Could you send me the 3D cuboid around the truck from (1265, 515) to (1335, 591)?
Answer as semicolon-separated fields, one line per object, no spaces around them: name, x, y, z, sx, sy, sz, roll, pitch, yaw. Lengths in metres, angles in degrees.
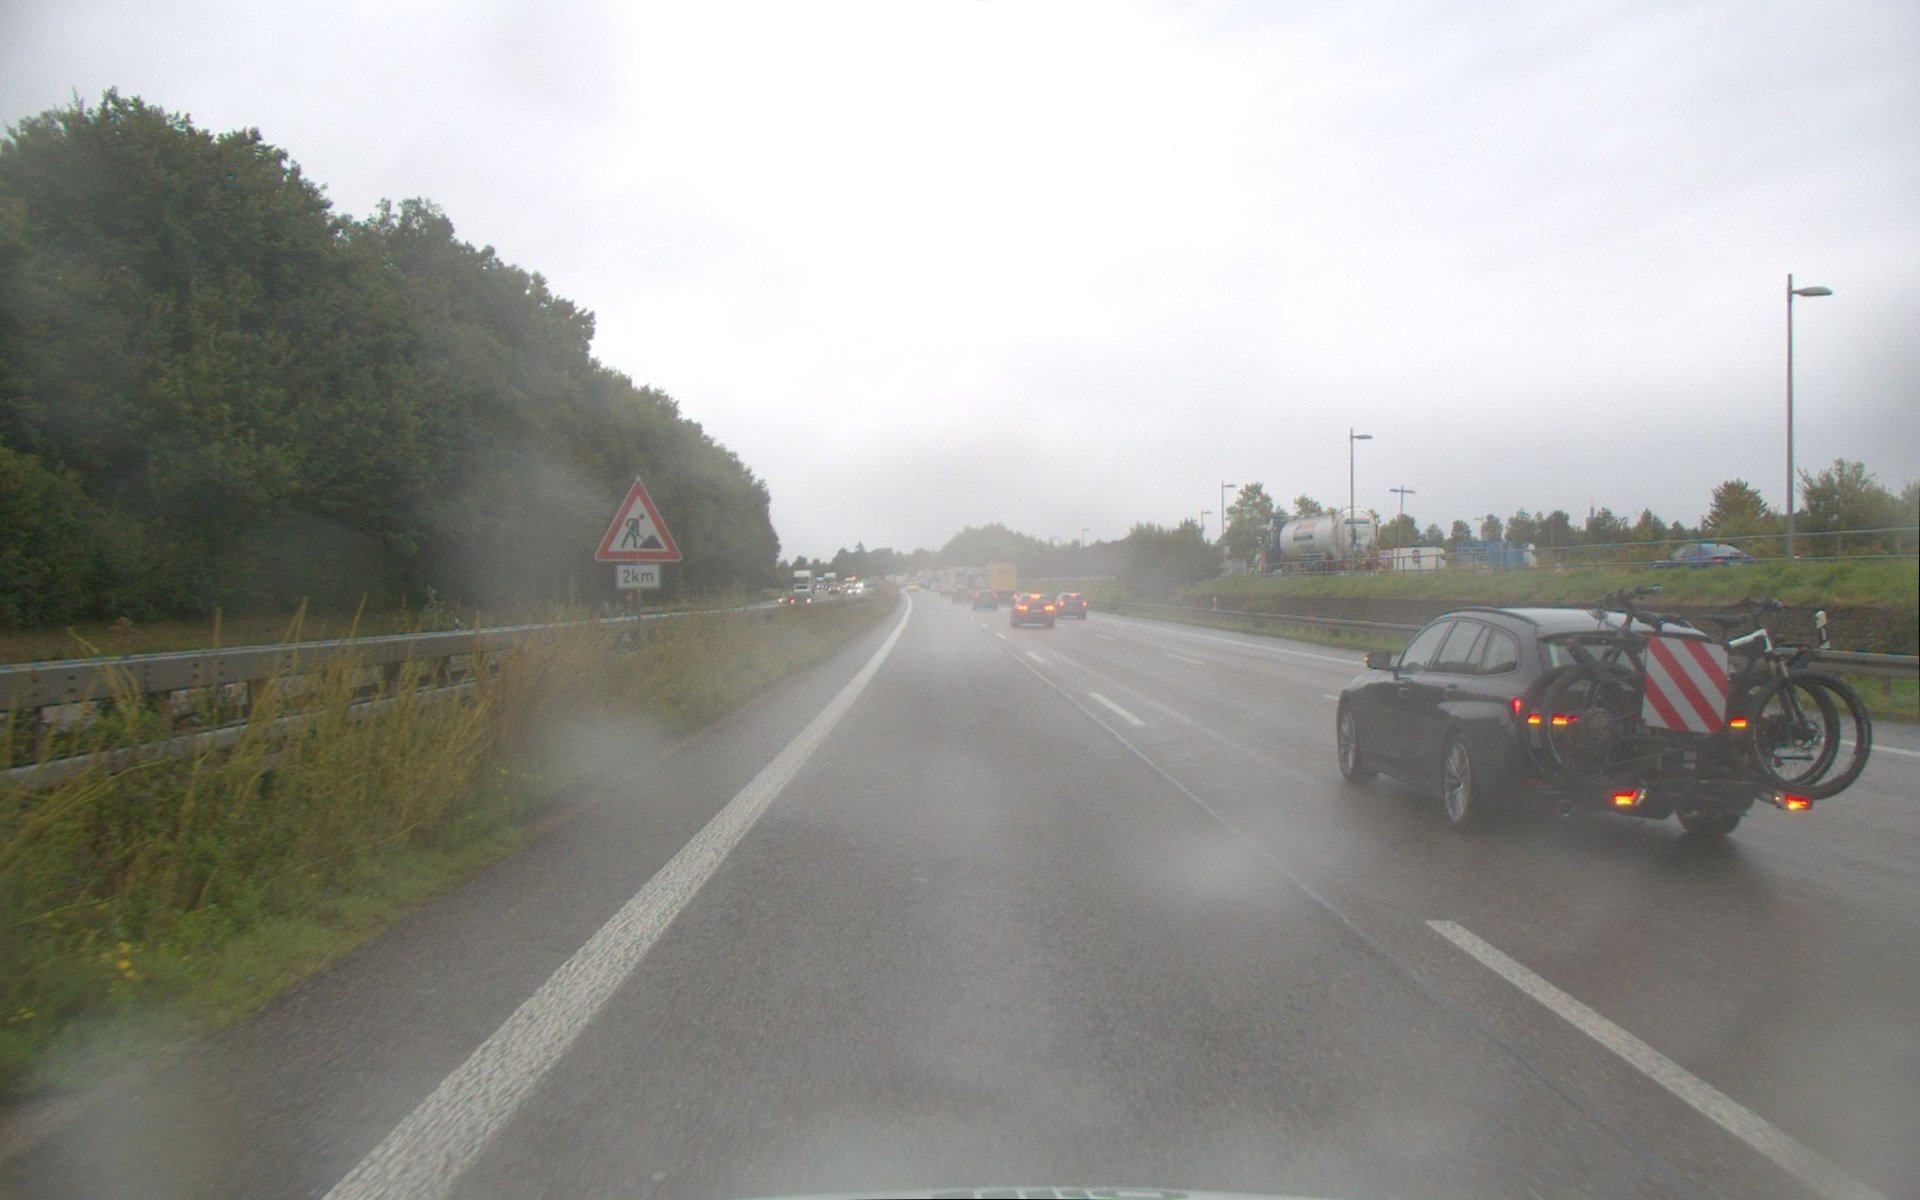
truck;19.551;-2.674;95.398;2.889;4.218;4.921;-1;0;-1

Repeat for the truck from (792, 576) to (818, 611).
truck;-22.725;-0.993;242.630;2.930;5.023;9.481;-1;0;-1

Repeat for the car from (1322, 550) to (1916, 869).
car;4.176;0.629;11.714;2.015;1.701;5.521;1;-1;0

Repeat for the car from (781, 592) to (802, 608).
car;-15.548;0.017;152.652;1.644;1.422;3.999;-1;0;-1

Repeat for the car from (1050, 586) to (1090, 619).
car;6.316;0.122;95.417;1.953;1.791;3.999;-1;0;-1

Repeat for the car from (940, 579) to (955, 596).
car;-1.709;-1.697;220.836;1.953;2.243;3.999;-1;0;-1

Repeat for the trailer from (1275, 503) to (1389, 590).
trailer;19.639;-2.670;88.357;2.924;4.229;12.953;-1;0;-1

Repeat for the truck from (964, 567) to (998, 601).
truck;2.610;-2.022;207.134;3.844;4.051;12.237;-1;0;-1

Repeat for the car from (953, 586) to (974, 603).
car;0.322;-0.564;163.019;1.953;1.657;3.999;-1;0;-1

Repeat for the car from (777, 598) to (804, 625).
car;-12.375;0.833;120.964;1.571;1.917;3.571;-1;0;-1

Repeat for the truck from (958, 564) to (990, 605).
truck;1.969;-2.167;237.608;4.200;5.665;12.237;-1;0;-1

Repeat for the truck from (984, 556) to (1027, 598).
truck;4.648;-2.336;172.026;3.844;4.051;12.237;-1;0;-1

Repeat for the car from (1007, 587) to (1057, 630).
car;3.139;0.348;72.604;1.953;1.791;3.999;-1;0;-1

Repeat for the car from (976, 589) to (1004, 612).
car;2.229;0.048;124.547;1.953;1.657;3.999;-1;0;-1

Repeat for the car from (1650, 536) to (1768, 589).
car;24.942;-1.226;55.227;1.754;1.653;3.994;-1;0;-7

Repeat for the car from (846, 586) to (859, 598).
car;-15.100;-1.127;232.081;1.571;1.611;3.571;-1;0;-1
